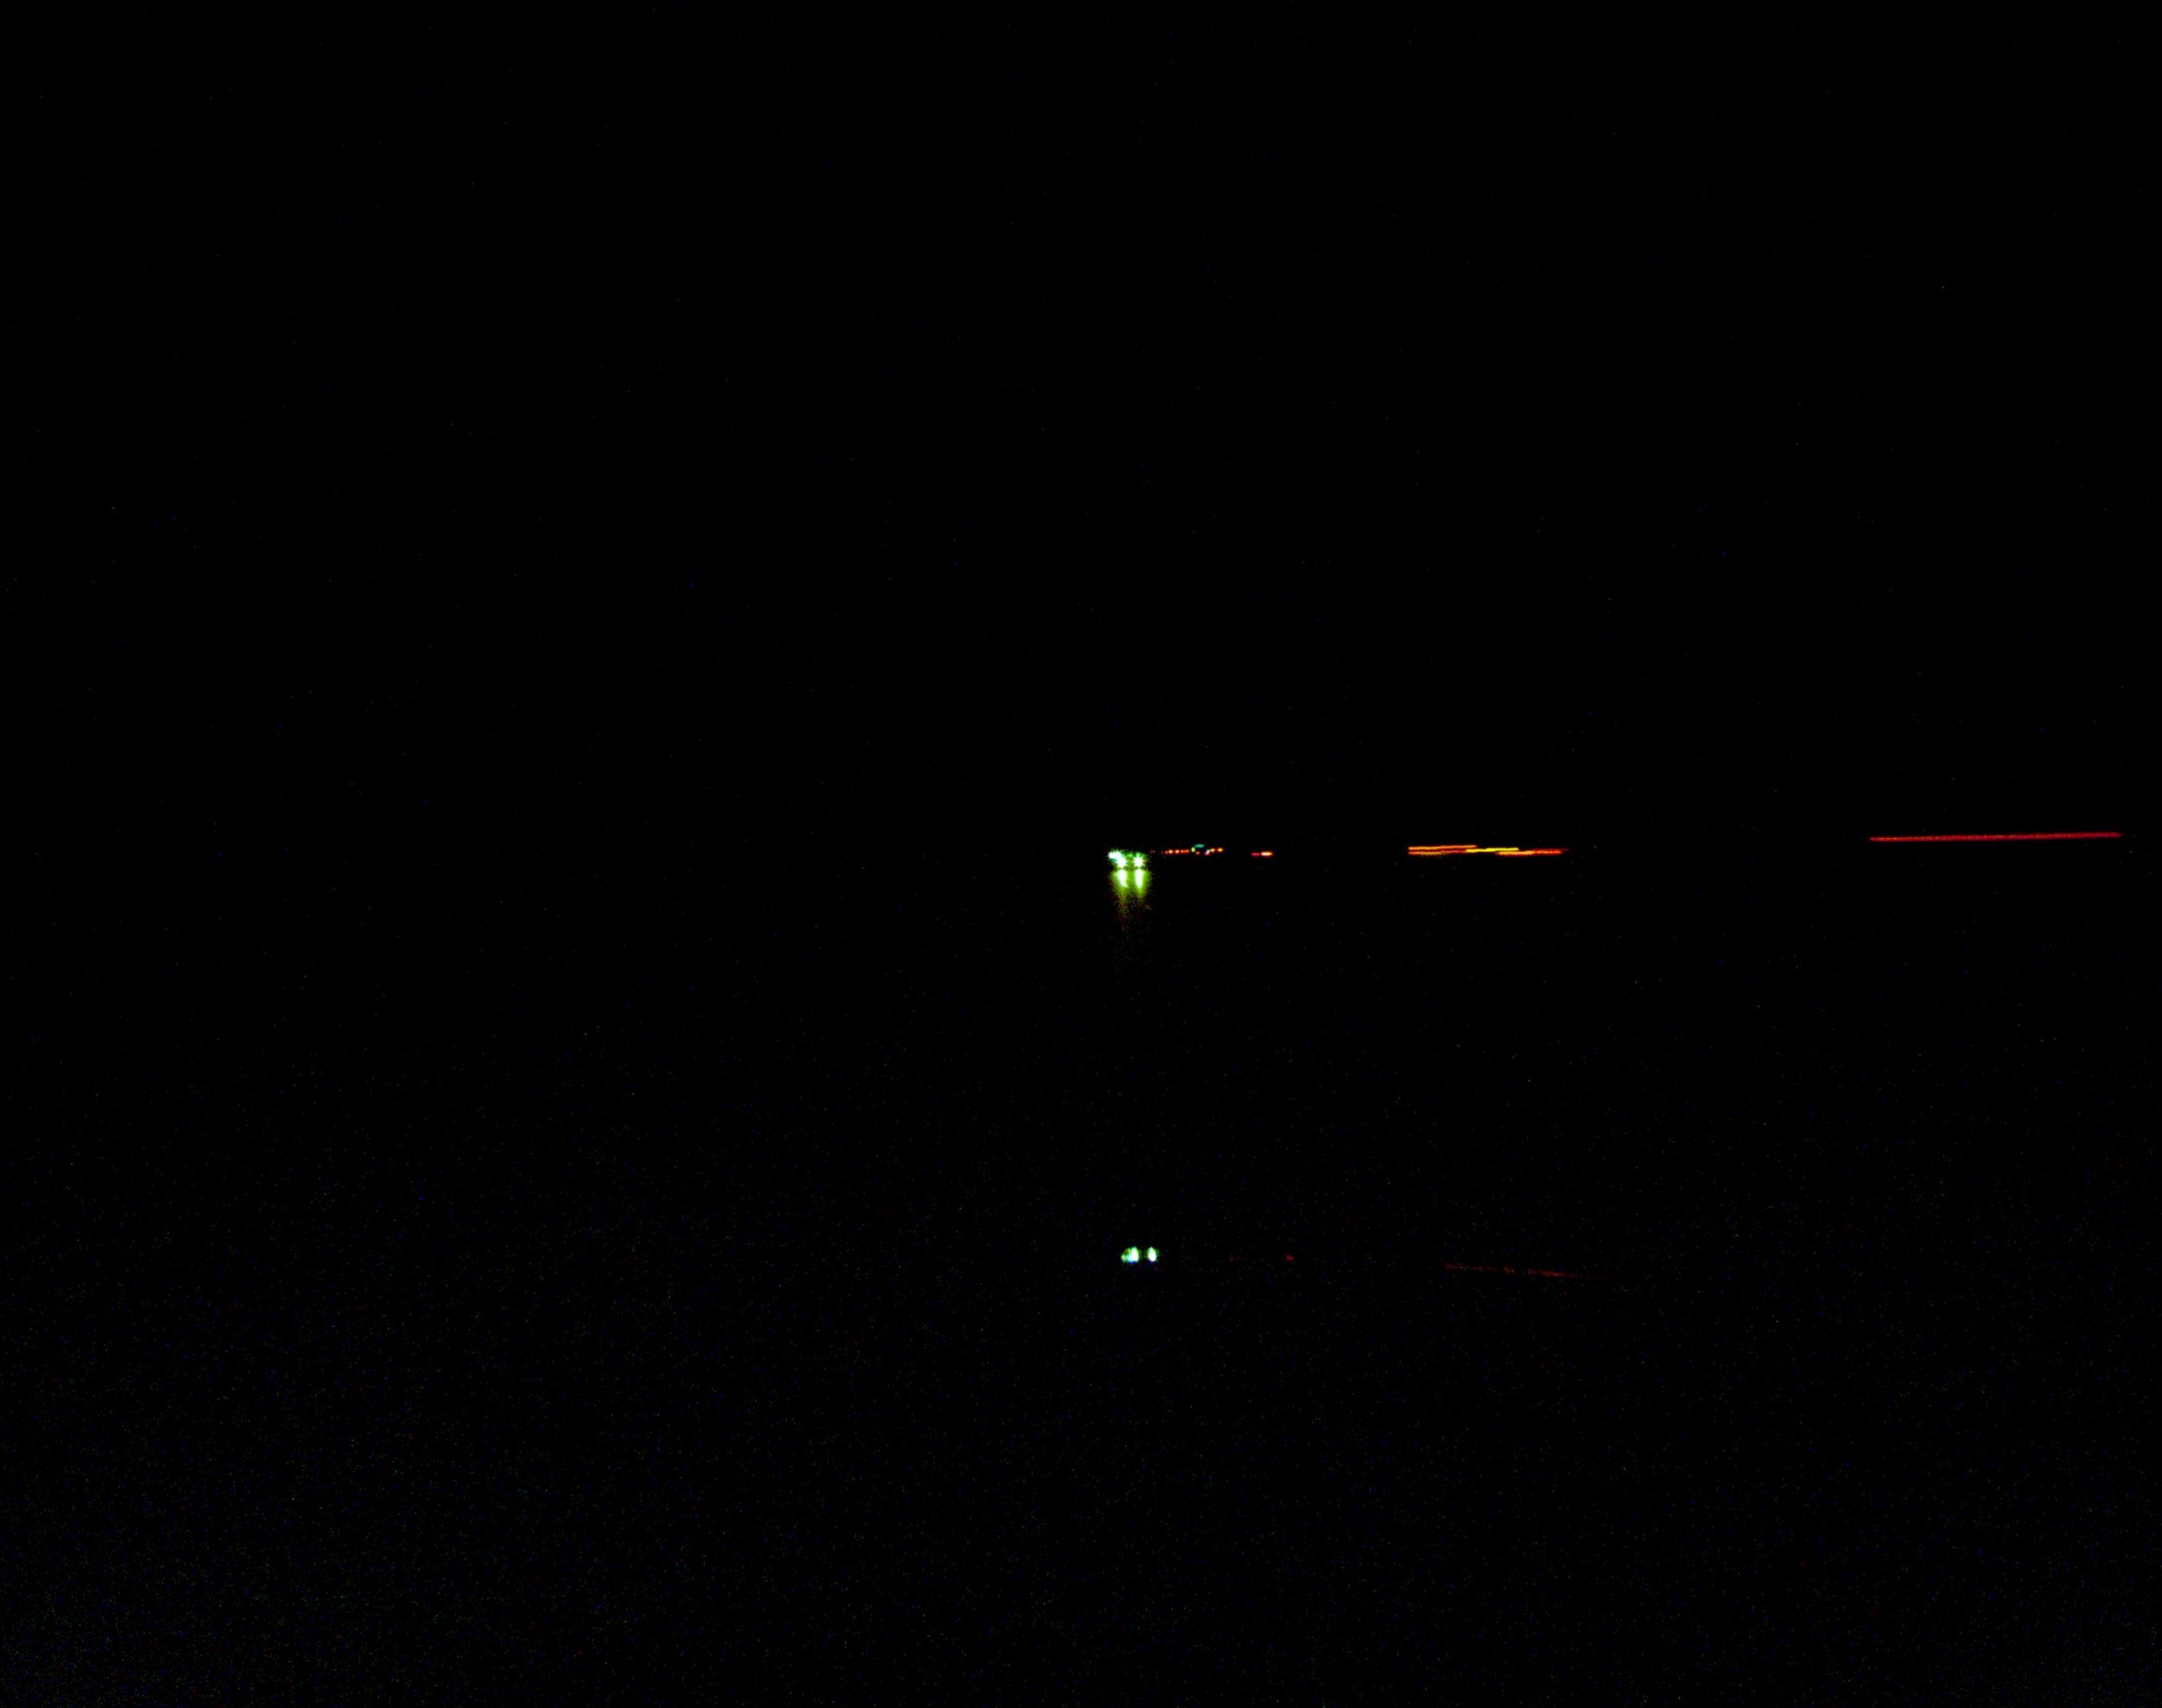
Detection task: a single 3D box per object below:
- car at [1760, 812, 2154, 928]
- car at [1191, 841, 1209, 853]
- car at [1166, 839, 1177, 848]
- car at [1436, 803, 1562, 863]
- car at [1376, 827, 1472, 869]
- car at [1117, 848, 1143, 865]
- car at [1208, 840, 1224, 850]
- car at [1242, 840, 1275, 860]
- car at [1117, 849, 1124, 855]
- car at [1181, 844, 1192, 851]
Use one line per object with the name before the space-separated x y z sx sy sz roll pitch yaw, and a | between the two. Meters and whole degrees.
car | 15.751 0.229 14.186 1.998 1.724 4.659 -3 0 1
car | 17.729 -1.040 113.242 1.998 1.724 4.659 -3 0 2
car | 19.558 -2.270 164.023 1.998 1.724 4.659 -3 0 2
car | 23.013 -1.084 42.464 2.464 2.919 8.332 -3 0 1
car | 16.959 -0.297 37.953 2.151 1.874 5.422 -3 0 -2
car | 4.388 0.258 68.853 1.998 1.422 4.329 -3 0 0
car | 23.177 -1.514 130.853 1.998 1.500 5.185 -3 0 2
car | 16.374 -0.350 70.404 1.998 1.724 4.659 -3 0 2
car | 12.025 -0.552 231.418 1.998 1.724 4.225 -3 0 1
car | 24.651 -1.561 177.691 1.999 1.500 5.202 -3 0 0
